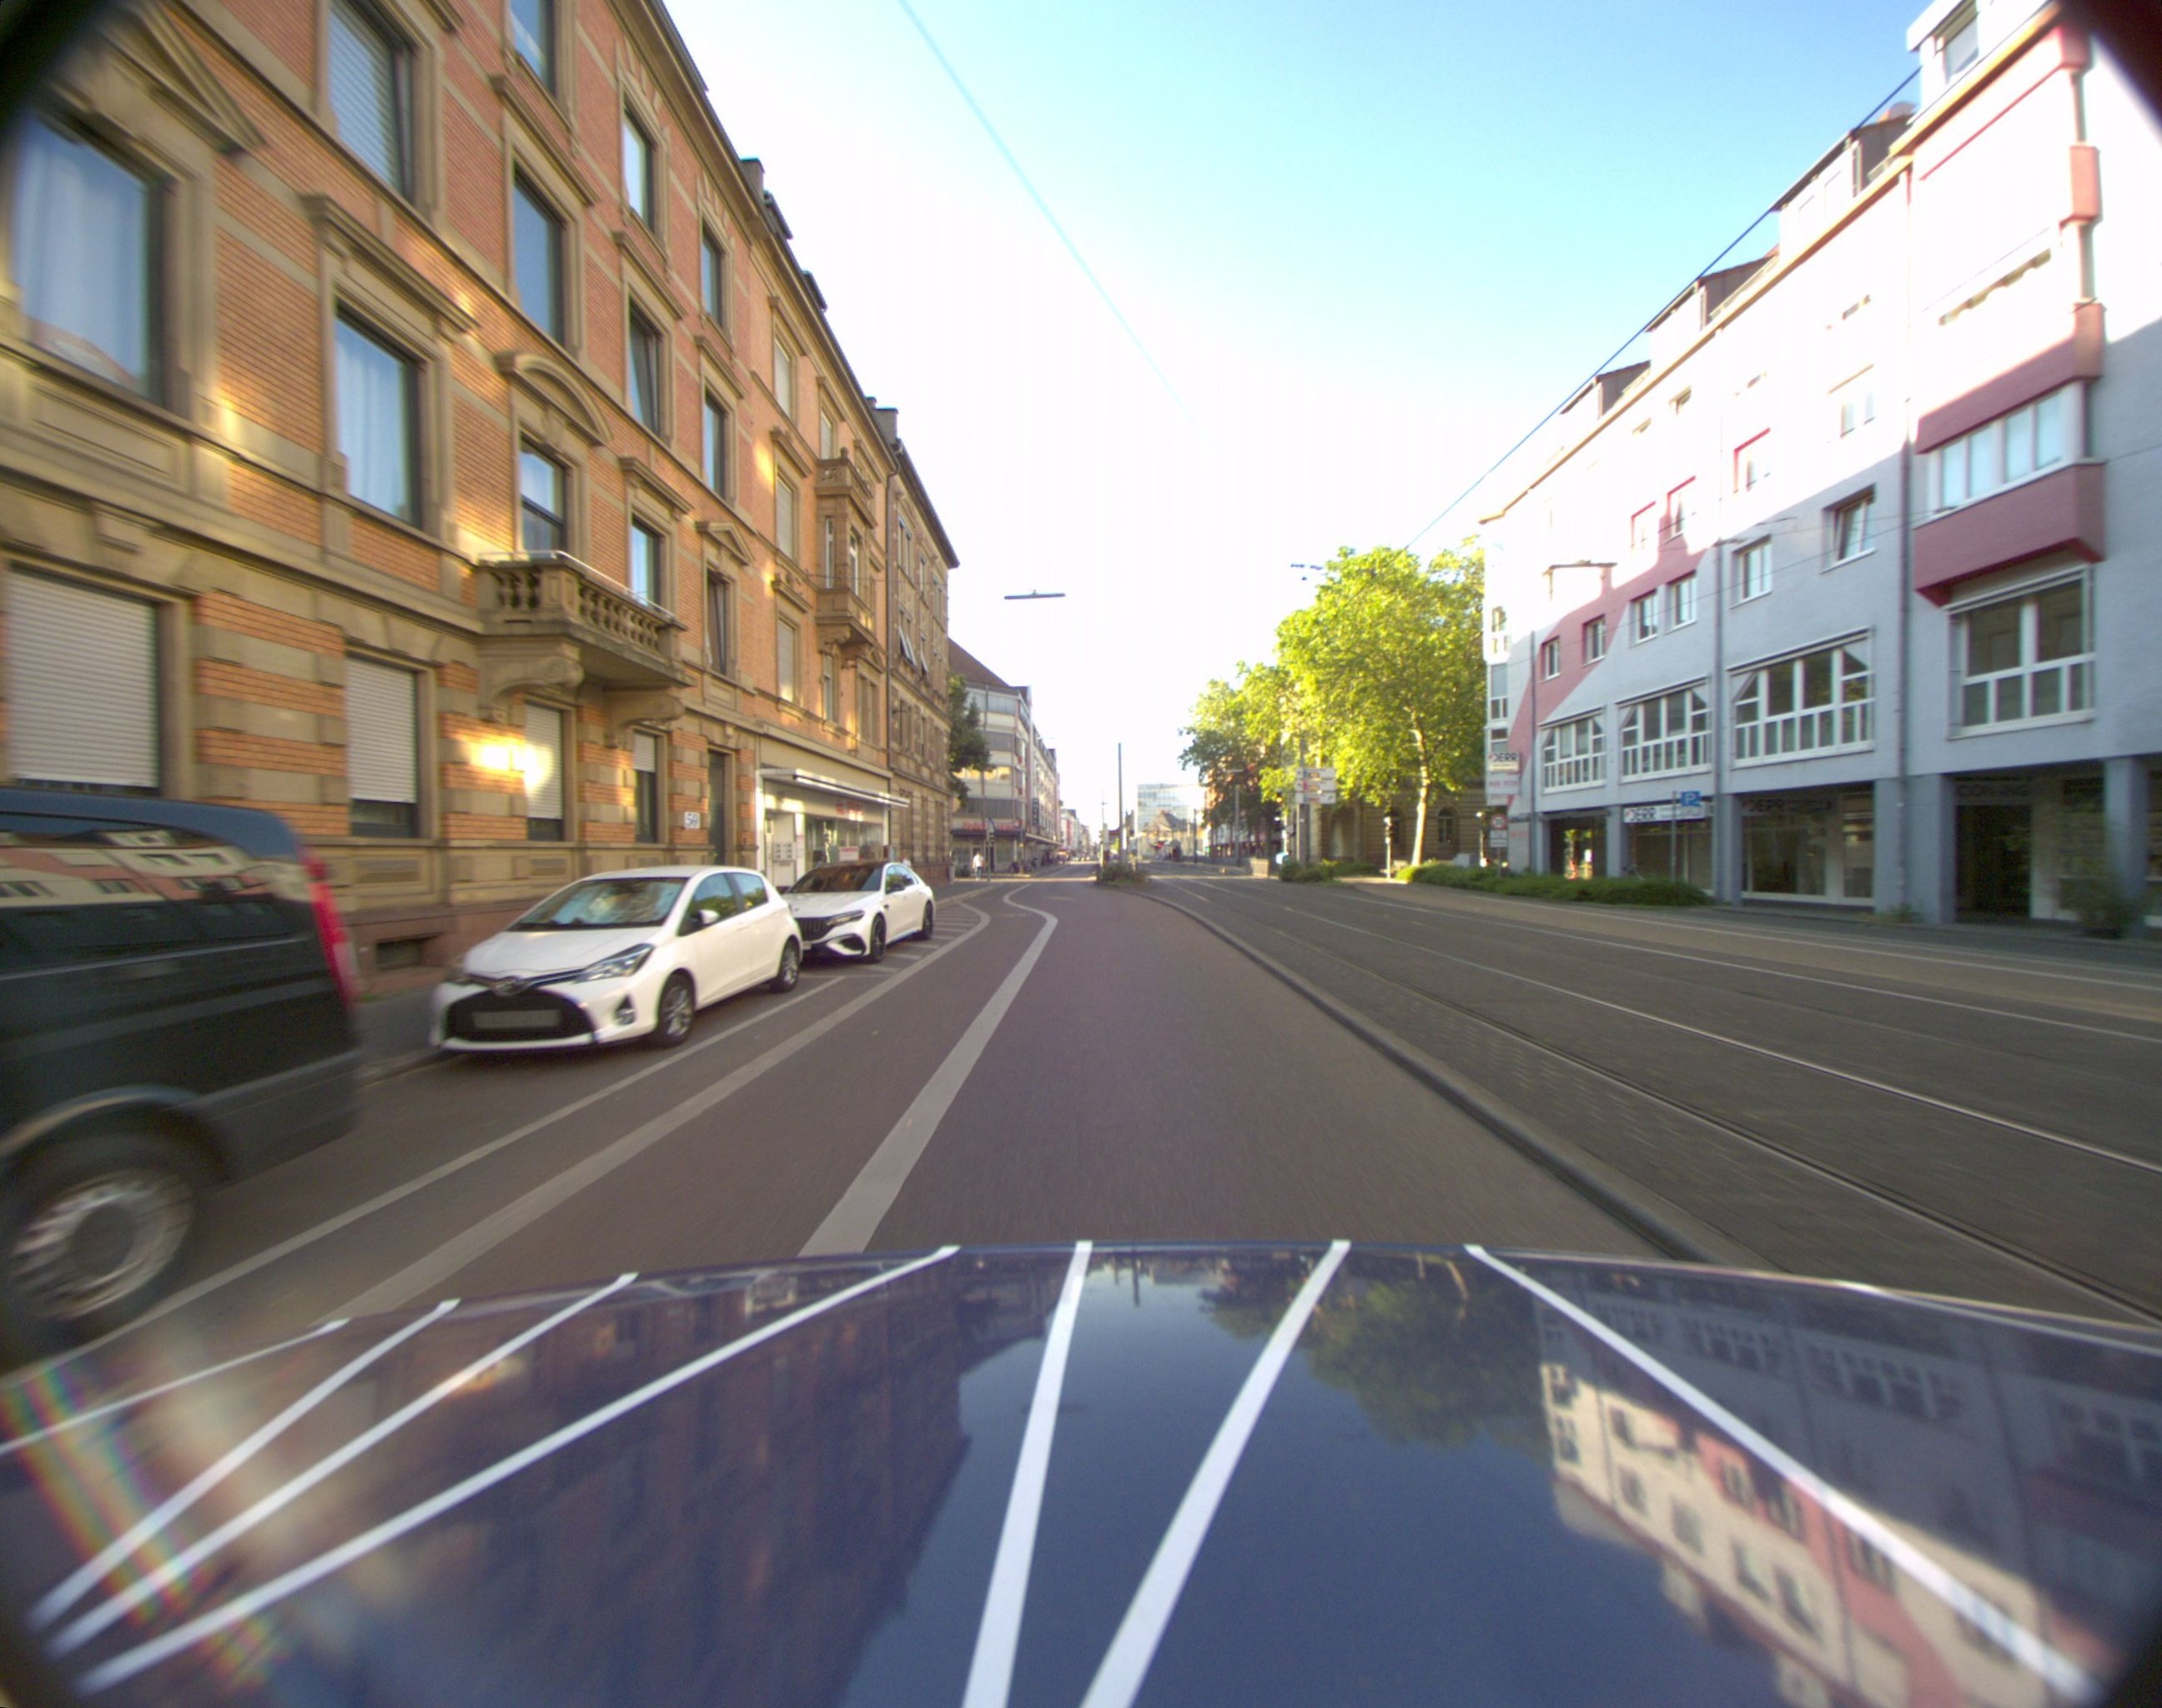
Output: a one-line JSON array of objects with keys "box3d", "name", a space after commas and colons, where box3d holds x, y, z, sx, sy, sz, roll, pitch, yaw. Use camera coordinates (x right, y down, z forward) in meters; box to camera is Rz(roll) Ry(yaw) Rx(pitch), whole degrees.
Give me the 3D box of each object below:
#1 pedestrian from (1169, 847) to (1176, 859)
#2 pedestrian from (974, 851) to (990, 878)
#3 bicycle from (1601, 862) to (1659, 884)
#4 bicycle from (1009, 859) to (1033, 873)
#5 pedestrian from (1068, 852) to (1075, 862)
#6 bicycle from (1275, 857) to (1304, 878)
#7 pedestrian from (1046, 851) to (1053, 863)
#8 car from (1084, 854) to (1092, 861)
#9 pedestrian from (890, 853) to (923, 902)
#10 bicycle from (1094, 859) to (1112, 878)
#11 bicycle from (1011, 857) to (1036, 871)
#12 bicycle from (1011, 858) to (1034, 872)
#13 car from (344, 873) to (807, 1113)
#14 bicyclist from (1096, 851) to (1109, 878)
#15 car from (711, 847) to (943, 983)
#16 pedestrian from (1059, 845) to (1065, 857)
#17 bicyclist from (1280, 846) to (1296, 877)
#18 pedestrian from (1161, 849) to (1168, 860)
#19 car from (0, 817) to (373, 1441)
[{"box3d": [12.830, -0.143, 106.943, 0.913, 1.652, 0.967, -1, 1, 1], "name": "pedestrian"}, {"box3d": [-6.075, 0.649, 46.510, 0.785, 1.655, 1.034, -1, -1, 2], "name": "pedestrian"}, {"box3d": [17.875, 0.604, 24.774, 0.457, 0.654, 1.809, -3, 0, -4], "name": "bicycle"}, {"box3d": [-4.803, 0.976, 60.494, 1.838, 1.048, 0.710, -1, 1, -1], "name": "bicycle"}, {"box3d": [-1.714, 0.550, 133.206, 0.812, 1.793, 0.859, -3, 1, -27], "name": "pedestrian"}, {"box3d": [11.509, 0.726, 41.871, 1.903, 1.071, 0.582, -4, 1, -42], "name": "bicycle"}, {"box3d": [-4.596, 0.446, 111.873, 0.917, 1.856, 0.779, 1, 1, -2], "name": "pedestrian"}, {"box3d": [1.833, 0.847, 198.451, 1.971, 1.664, 4.876, -2, 0, 1], "name": "car"}, {"box3d": [-5.768, 0.772, 25.158, 0.777, 1.558, 0.914, 3, 1, 4], "name": "pedestrian"}, {"box3d": [1.267, 0.831, 44.078, 0.584, 1.071, 1.898, -3, 1, -10], "name": "bicycle"}, {"box3d": [-4.767, 0.832, 62.897, 1.975, 1.098, 0.614, 0, 1, -1], "name": "bicycle"}, {"box3d": [-4.779, 0.892, 62.168, 1.838, 1.048, 0.718, -1, 1, -1], "name": "bicycle"}, {"box3d": [-4.233, 1.022, 7.278, 1.735, 1.487, 3.961, -2, 0, 0], "name": "car"}, {"box3d": [1.260, 0.614, 44.103, 0.534, 1.569, 0.744, -1, 1, -15], "name": "bicyclist"}, {"box3d": [-3.841, 0.797, 12.592, 1.971, 1.761, 4.875, -2, 1, 3], "name": "car"}, {"box3d": [-2.815, -0.477, 114.606, 0.800, 1.712, 1.061, 2, 1, 3], "name": "pedestrian"}, {"box3d": [11.351, 0.404, 41.745, 0.747, 1.702, 0.532, -1, 1, -44], "name": "bicyclist"}, {"box3d": [13.539, 0.103, 123.295, 0.859, 1.757, 0.812, -3, 1, 10], "name": "pedestrian"}, {"box3d": [-4.294, 0.862, 0.928, 1.960, 1.858, 4.989, -2, 0, 3], "name": "car"}]
